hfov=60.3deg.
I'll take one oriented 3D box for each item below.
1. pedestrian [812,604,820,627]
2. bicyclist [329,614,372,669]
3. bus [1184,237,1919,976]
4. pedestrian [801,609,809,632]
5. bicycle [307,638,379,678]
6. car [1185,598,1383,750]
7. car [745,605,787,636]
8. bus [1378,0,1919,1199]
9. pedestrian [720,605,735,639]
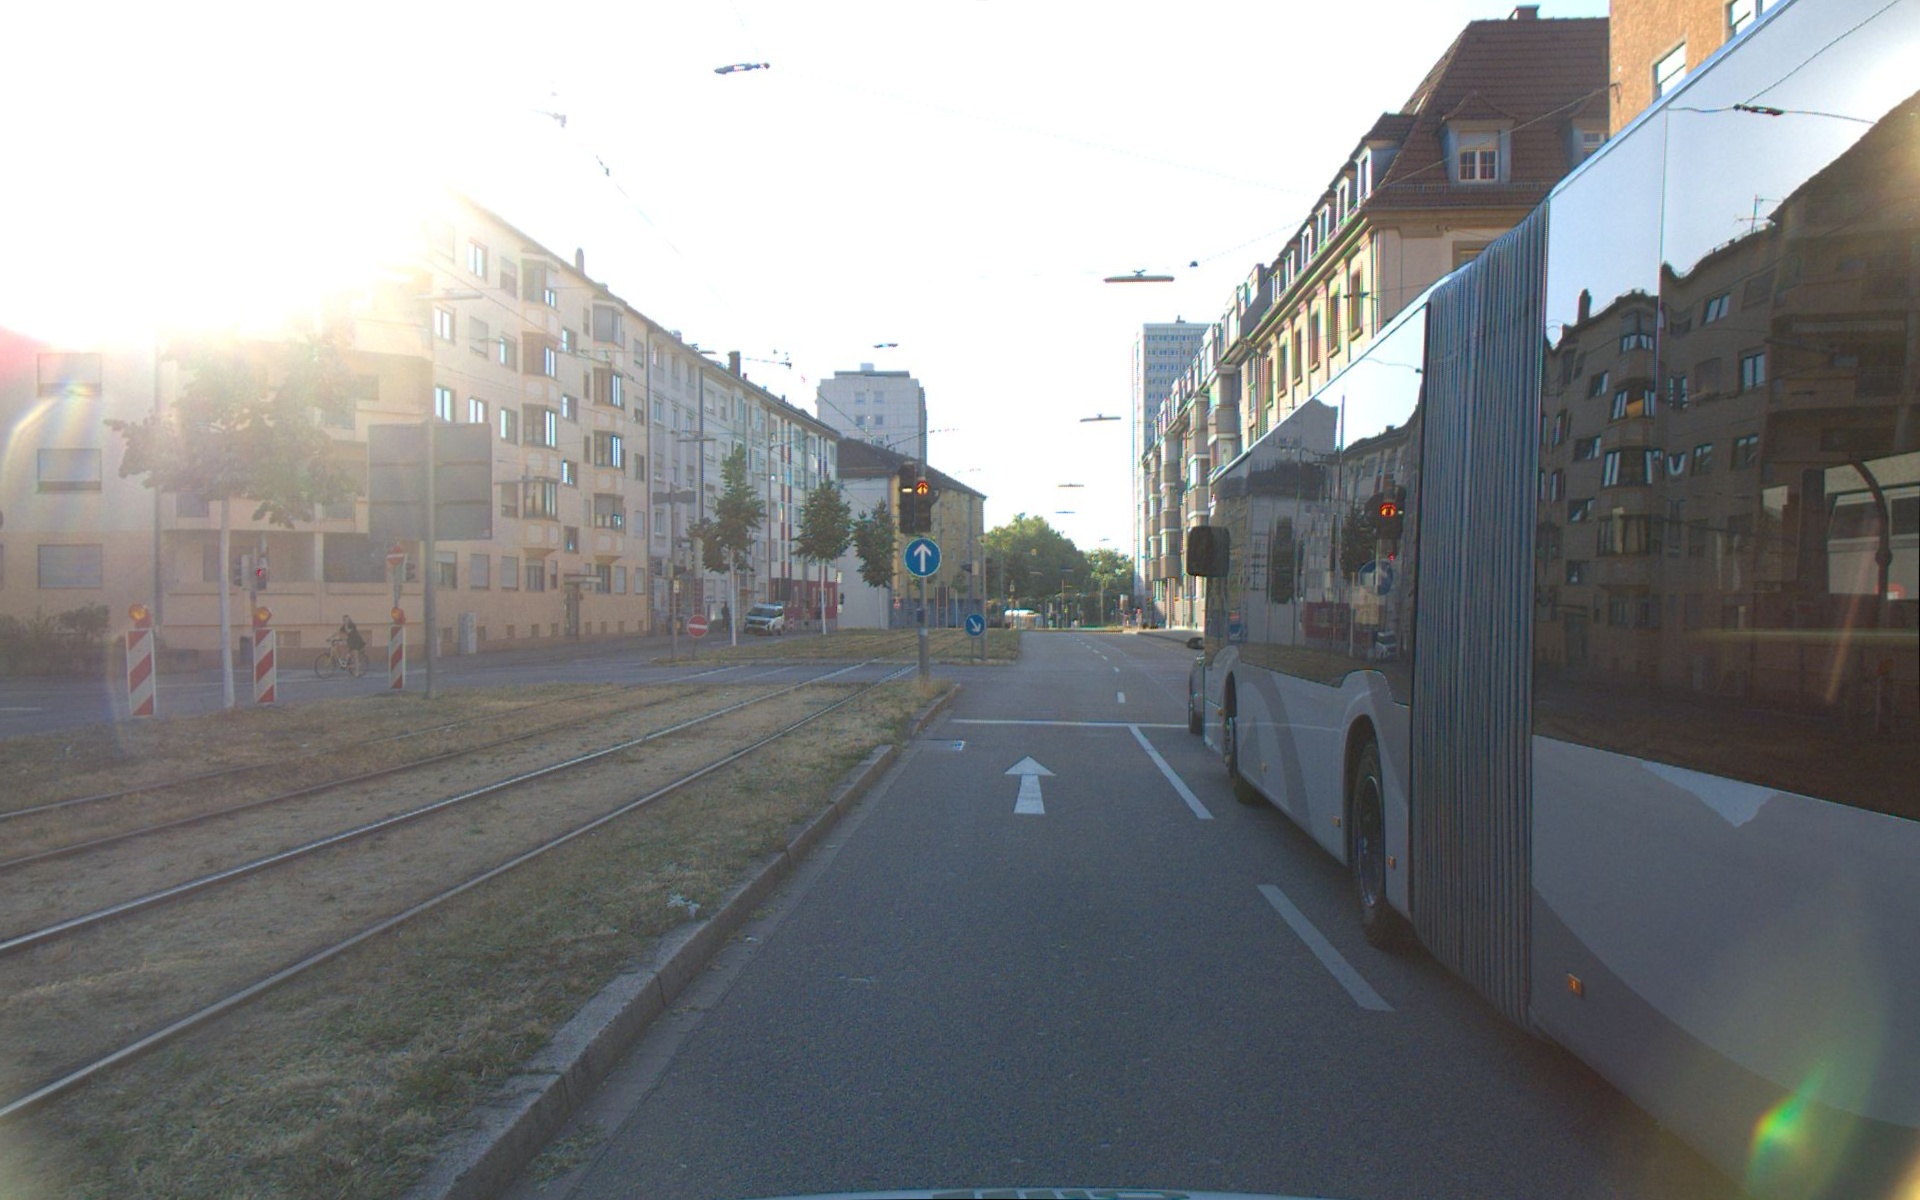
[{"bbox_3d":[-10.628,1.175,122.183,0.485,1.687,0.409,-1,-1,3],"label":"pedestrian"},{"bbox_3d":[-16.453,1.110,44.674,0.518,1.472,0.963,-1,-1,33],"label":"bicyclist"},{"bbox_3d":[3.350,0.041,11.586,2.681,3.109,9.134,1,0,3],"label":"bus"},{"bbox_3d":[-11.426,1.487,121.882,0.485,1.687,0.409,-1,-1,3],"label":"pedestrian"},{"bbox_3d":[-16.582,1.552,44.468,0.518,1.001,1.878,-1,-1,33],"label":"bicycle"},{"bbox_3d":[3.770,0.809,19.873,1.733,1.603,4.087,-1,0,3],"label":"car"},{"bbox_3d":[-11.818,1.242,101.031,1.774,1.829,4.247,1,-1,4],"label":"car"},{"bbox_3d":[2.943,-0.007,2.597,2.681,3.109,8.856,1,0,3],"label":"bus"},{"bbox_3d":[-14.079,1.336,100.303,0.770,2.049,0.890,-1,-1,-1],"label":"pedestrian"}]
